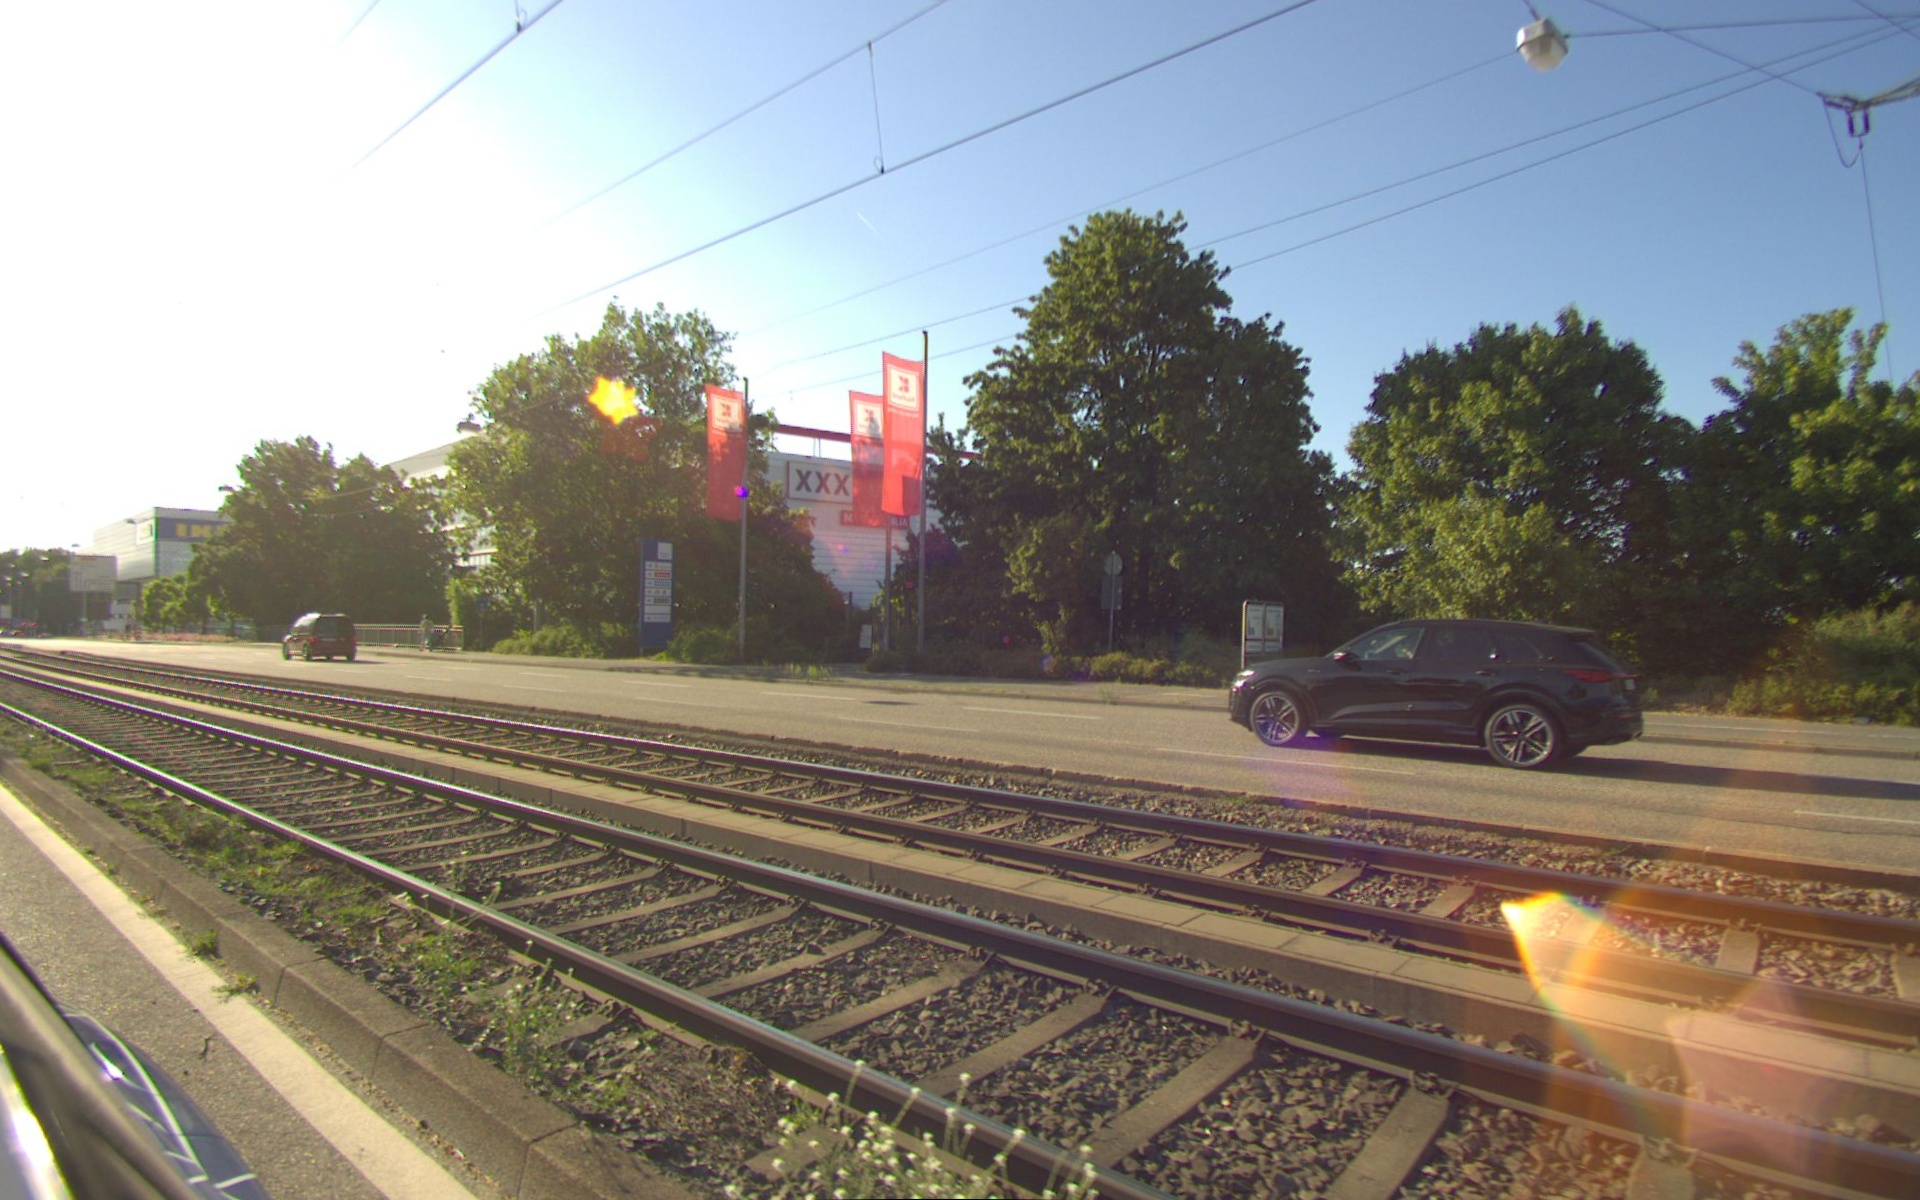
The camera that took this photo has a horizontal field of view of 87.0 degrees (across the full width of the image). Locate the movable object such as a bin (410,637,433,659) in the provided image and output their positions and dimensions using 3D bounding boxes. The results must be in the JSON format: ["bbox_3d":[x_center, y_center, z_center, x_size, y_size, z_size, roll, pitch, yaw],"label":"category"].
[{"bbox_3d":[-25.928,2.303,48.735,1.083,0.973,0.606,-1,1,41],"label":"movable object such as a bin"}]

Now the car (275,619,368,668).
[{"bbox_3d":[-25.768,1.720,40.798,4.348,1.809,1.972,-1,-2,42],"label":"car"}]

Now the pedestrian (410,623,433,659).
[{"bbox_3d":[-25.744,1.943,48.370,1.083,1.660,0.606,-1,1,41],"label":"pedestrian"}]

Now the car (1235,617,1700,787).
[{"bbox_3d":[5.934,1.054,12.224,4.683,1.637,1.972,-1,-2,42],"label":"car"}]
